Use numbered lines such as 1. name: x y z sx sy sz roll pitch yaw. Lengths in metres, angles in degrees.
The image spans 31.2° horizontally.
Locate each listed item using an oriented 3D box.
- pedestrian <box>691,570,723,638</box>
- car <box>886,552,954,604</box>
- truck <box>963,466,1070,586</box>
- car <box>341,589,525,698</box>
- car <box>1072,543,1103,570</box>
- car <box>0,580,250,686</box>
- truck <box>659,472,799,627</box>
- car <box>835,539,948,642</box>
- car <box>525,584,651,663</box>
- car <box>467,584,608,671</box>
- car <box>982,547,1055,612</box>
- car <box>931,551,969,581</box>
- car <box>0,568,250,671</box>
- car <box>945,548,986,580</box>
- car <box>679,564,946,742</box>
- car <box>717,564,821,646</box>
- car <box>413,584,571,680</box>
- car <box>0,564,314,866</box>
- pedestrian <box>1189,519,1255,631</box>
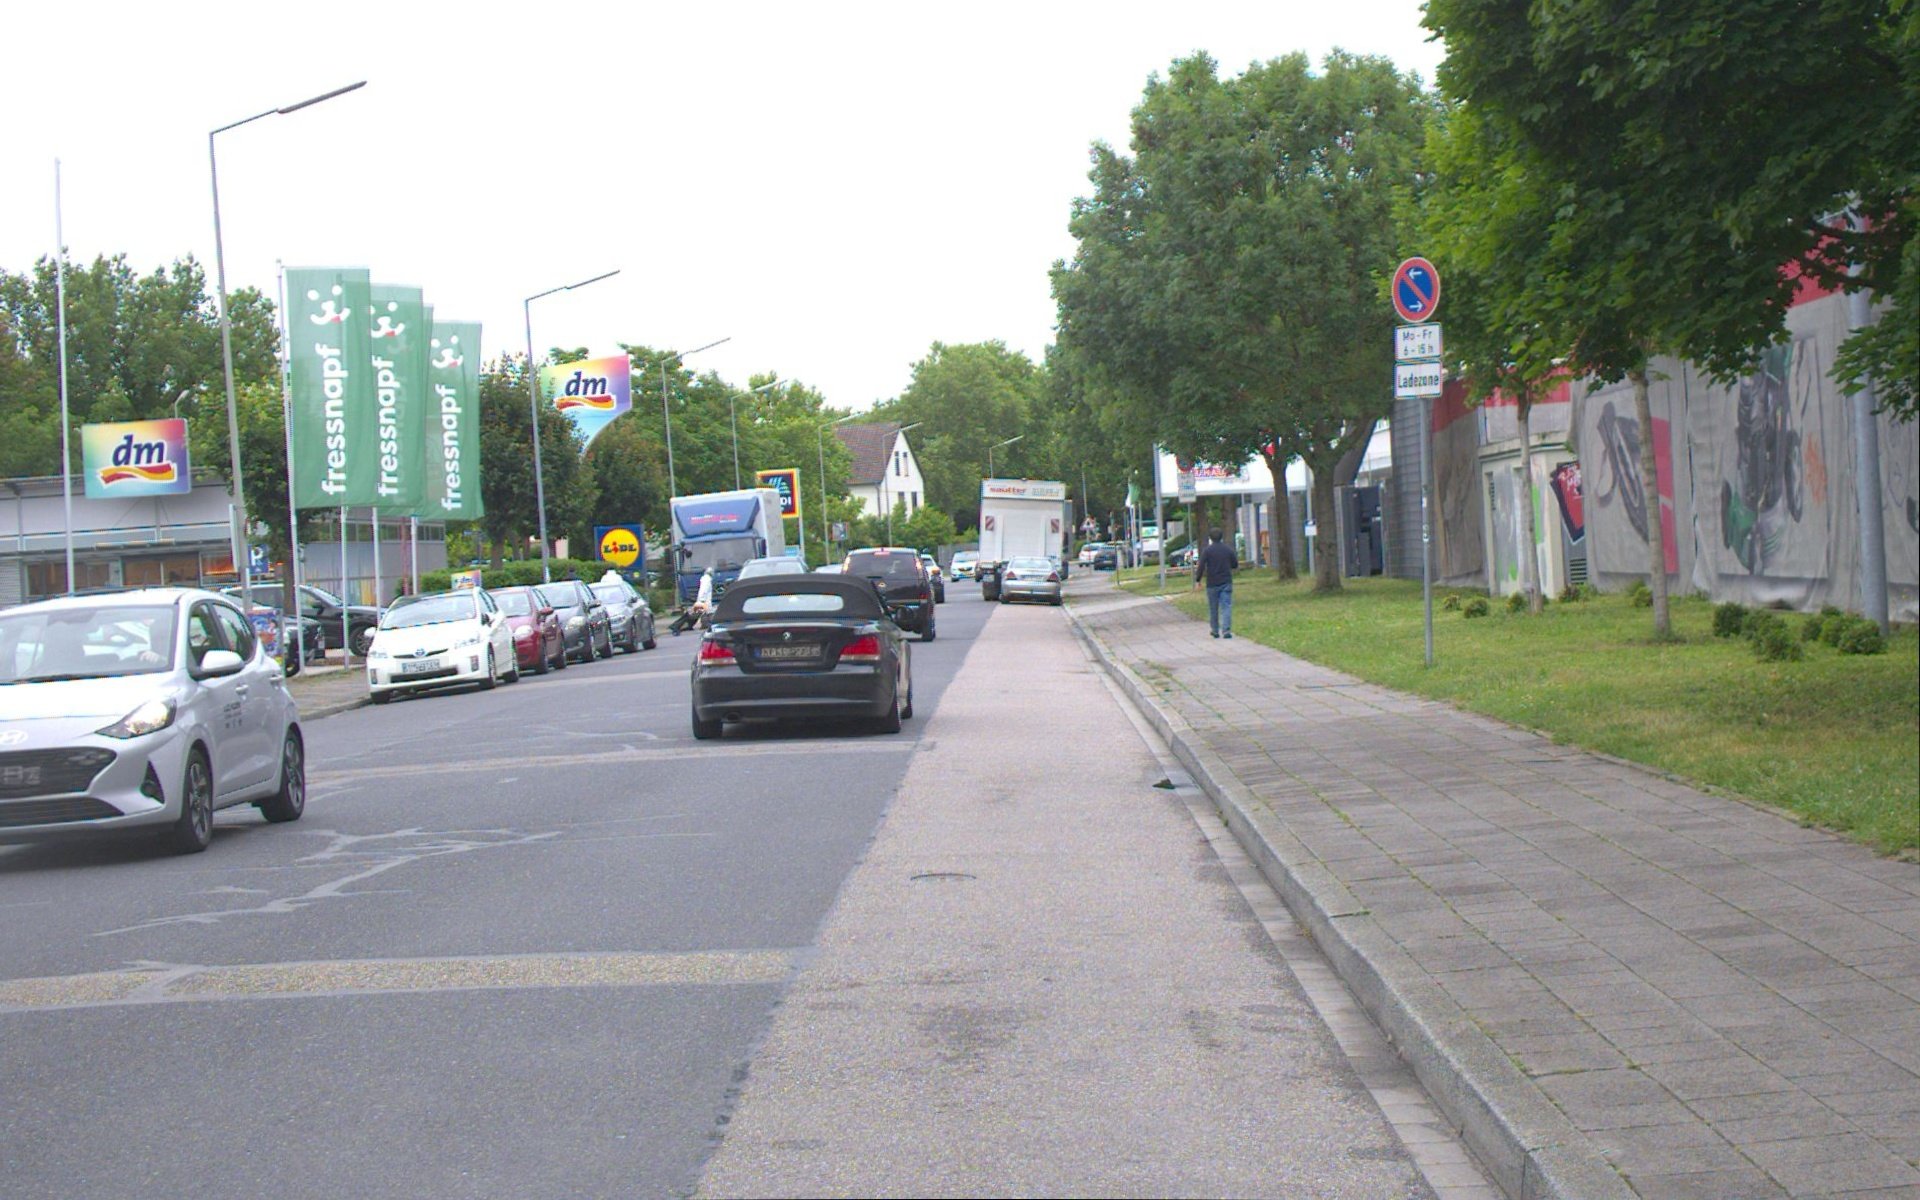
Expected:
1. pedestrian: -6.238 0.089 84.669 0.631 1.631 0.668 -4 1 0
2. car: -1.225 -0.699 106.724 1.886 1.526 4.254 -1 1 2
3. truck: 1.735 -2.278 109.812 3.135 3.572 10.050 -2 0 0
4. car: -7.598 0.603 49.890 1.898 1.362 4.000 -3 1 1
5. car: 8.195 -2.795 221.166 1.886 1.677 4.254 -1 1 2
6. car: -13.089 0.496 52.433 4.202 1.458 1.953 -2 1 -6
7. truck: -6.347 -1.413 95.506 2.974 3.942 6.404 -5 1 2
8. car: -1.219 -0.179 59.514 1.681 1.626 3.759 -3 1 -4
9. car: -7.312 0.438 67.917 1.898 1.362 4.000 -3 1 1
10. car: -7.579 0.472 62.021 1.898 1.362 4.000 -3 1 1
11. car: 1.689 -0.585 100.486 1.993 1.800 4.000 -2 0 0
12. car: -0.529 -1.852 186.992 1.886 1.526 4.254 -1 1 2
13. car: -14.084 0.324 57.242 4.135 1.458 1.899 -4 1 -4
14. car: 0.292 -1.808 171.919 1.886 1.526 4.254 -1 1 2
15. car: -1.205 0.415 29.880 1.746 1.354 4.137 -3 0 5
16. car: -4.127 0.100 74.740 1.993 1.678 4.000 -2 0 0
17. car: -7.648 0.498 56.528 1.898 1.362 4.000 -3 1 1
18. car: -4.968 0.622 19.845 1.599 1.523 3.528 -5 0 2
19. pedestrian: 3.934 -0.375 51.656 0.919 1.629 0.852 -2 0 3
